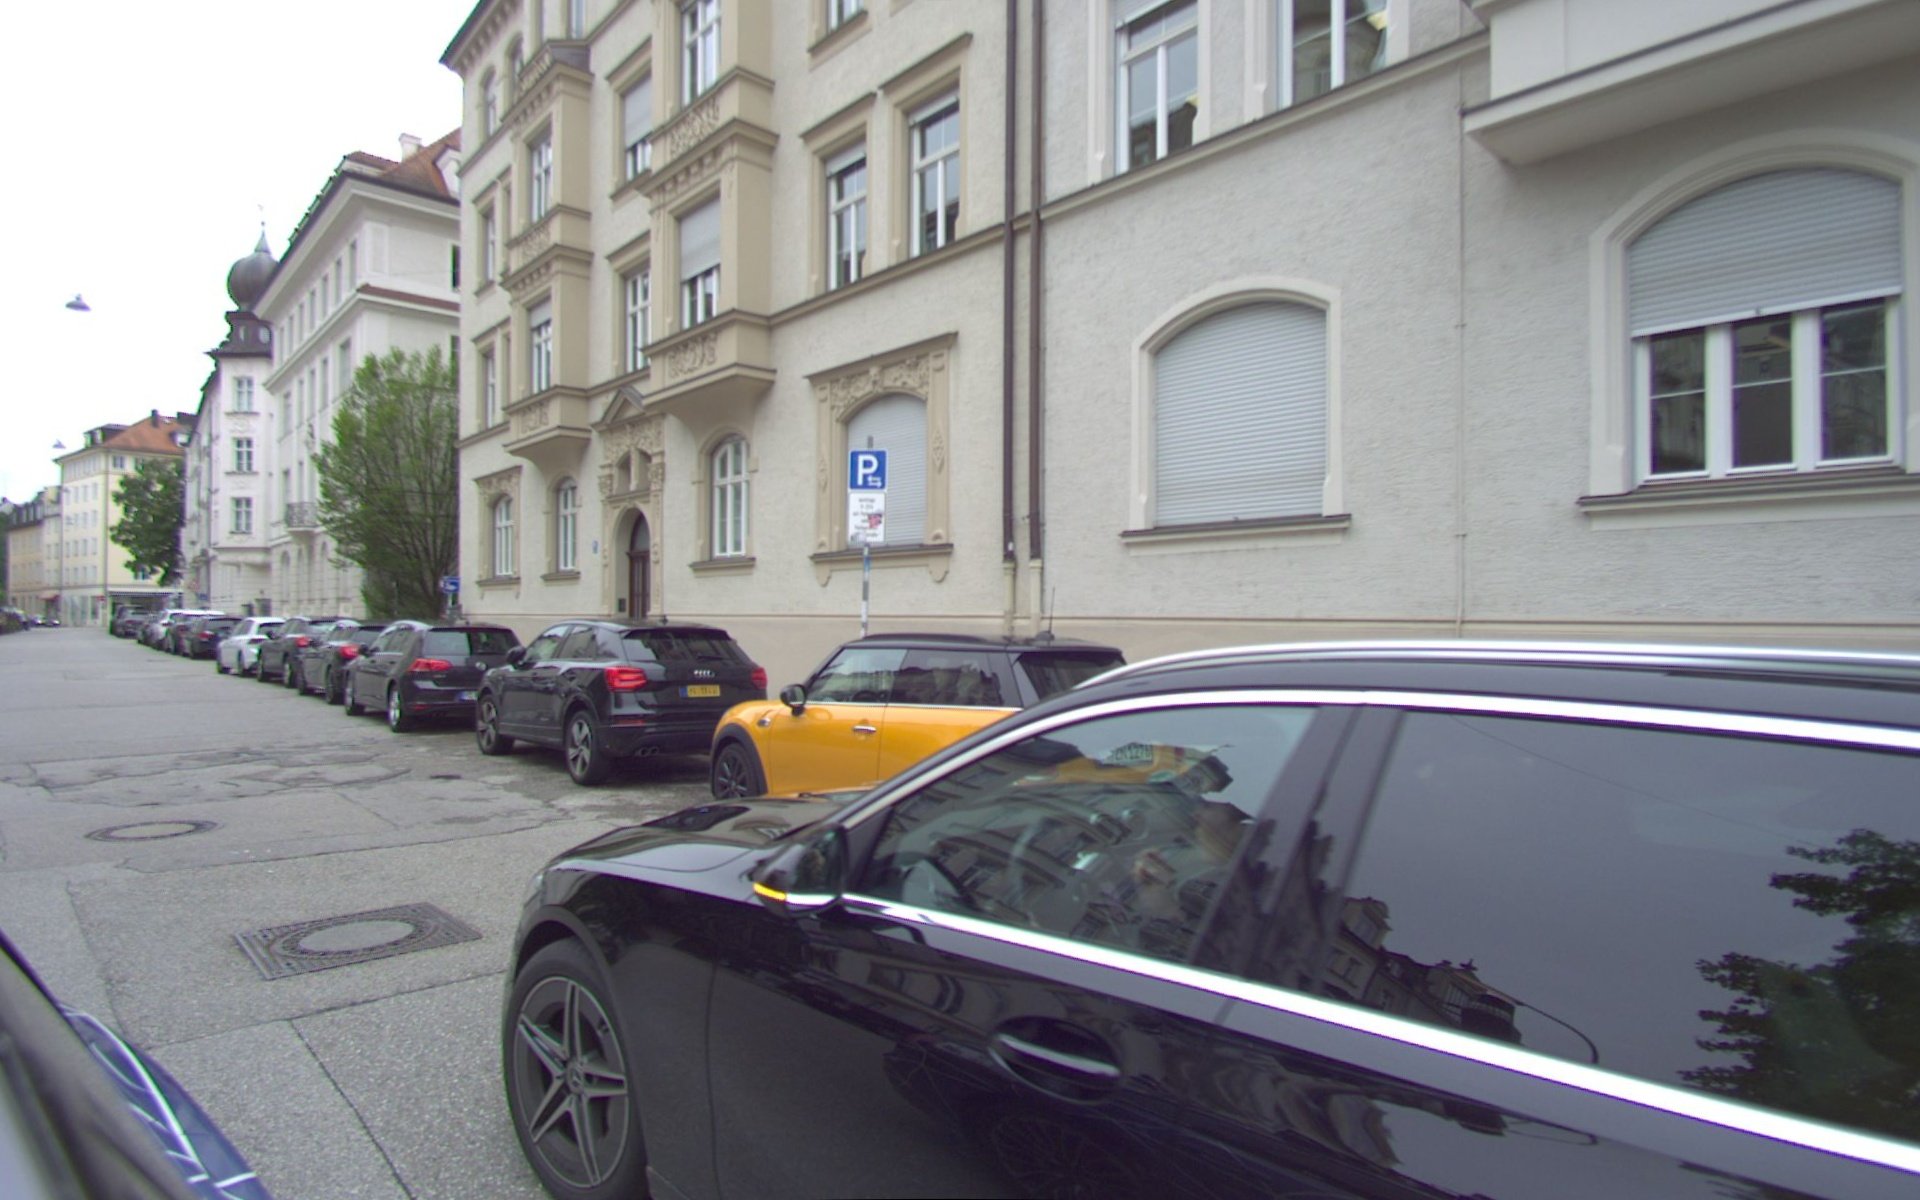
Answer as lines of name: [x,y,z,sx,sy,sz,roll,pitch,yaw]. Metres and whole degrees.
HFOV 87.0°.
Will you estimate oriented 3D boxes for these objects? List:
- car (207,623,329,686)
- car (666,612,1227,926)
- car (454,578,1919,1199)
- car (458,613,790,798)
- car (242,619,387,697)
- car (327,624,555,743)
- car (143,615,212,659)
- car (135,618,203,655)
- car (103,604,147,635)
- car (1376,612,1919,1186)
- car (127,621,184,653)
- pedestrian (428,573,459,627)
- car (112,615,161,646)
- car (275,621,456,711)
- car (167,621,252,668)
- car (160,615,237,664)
car: [-17.406,1.311,25.385,1.815,1.445,4.247,3,-3,-44]
car: [-0.346,0.893,6.936,1.620,1.511,3.977,4,-4,-41]
car: [0.882,0.737,1.819,4.410,1.439,1.853,-1,-2,44]
car: [-3.597,0.923,10.405,1.732,1.511,4.023,3,-3,-42]
car: [-14.199,1.233,22.172,1.750,1.530,4.388,4,-4,-44]
car: [-7.542,1.097,14.504,1.814,1.447,4.249,4,-4,-42]
car: [-31.559,1.462,40.769,1.892,1.631,4.577,0,-1,-42]
car: [-34.903,1.606,44.615,4.259,1.553,1.762,-1,-3,44]
car: [-53.414,1.260,64.716,1.814,1.909,4.768,3,-3,-43]
car: [3.503,0.812,2.899,1.705,1.511,3.935,2,-2,-42]
car: [-38.180,1.733,47.984,1.771,1.426,4.283,3,-3,-43]
pedestrian: [-15.749,0.007,30.855,0.631,1.638,0.665,-1,-1,44]
car: [-45.730,1.697,56.176,1.706,1.631,4.124,3,-3,-44]
car: [-10.926,1.122,18.439,1.812,1.445,4.557,3,-3,-44]
car: [-24.691,1.408,33.236,1.766,1.423,4.371,0,-1,-43]
car: [-27.752,1.400,36.845,1.814,1.631,4.248,0,-1,-43]
